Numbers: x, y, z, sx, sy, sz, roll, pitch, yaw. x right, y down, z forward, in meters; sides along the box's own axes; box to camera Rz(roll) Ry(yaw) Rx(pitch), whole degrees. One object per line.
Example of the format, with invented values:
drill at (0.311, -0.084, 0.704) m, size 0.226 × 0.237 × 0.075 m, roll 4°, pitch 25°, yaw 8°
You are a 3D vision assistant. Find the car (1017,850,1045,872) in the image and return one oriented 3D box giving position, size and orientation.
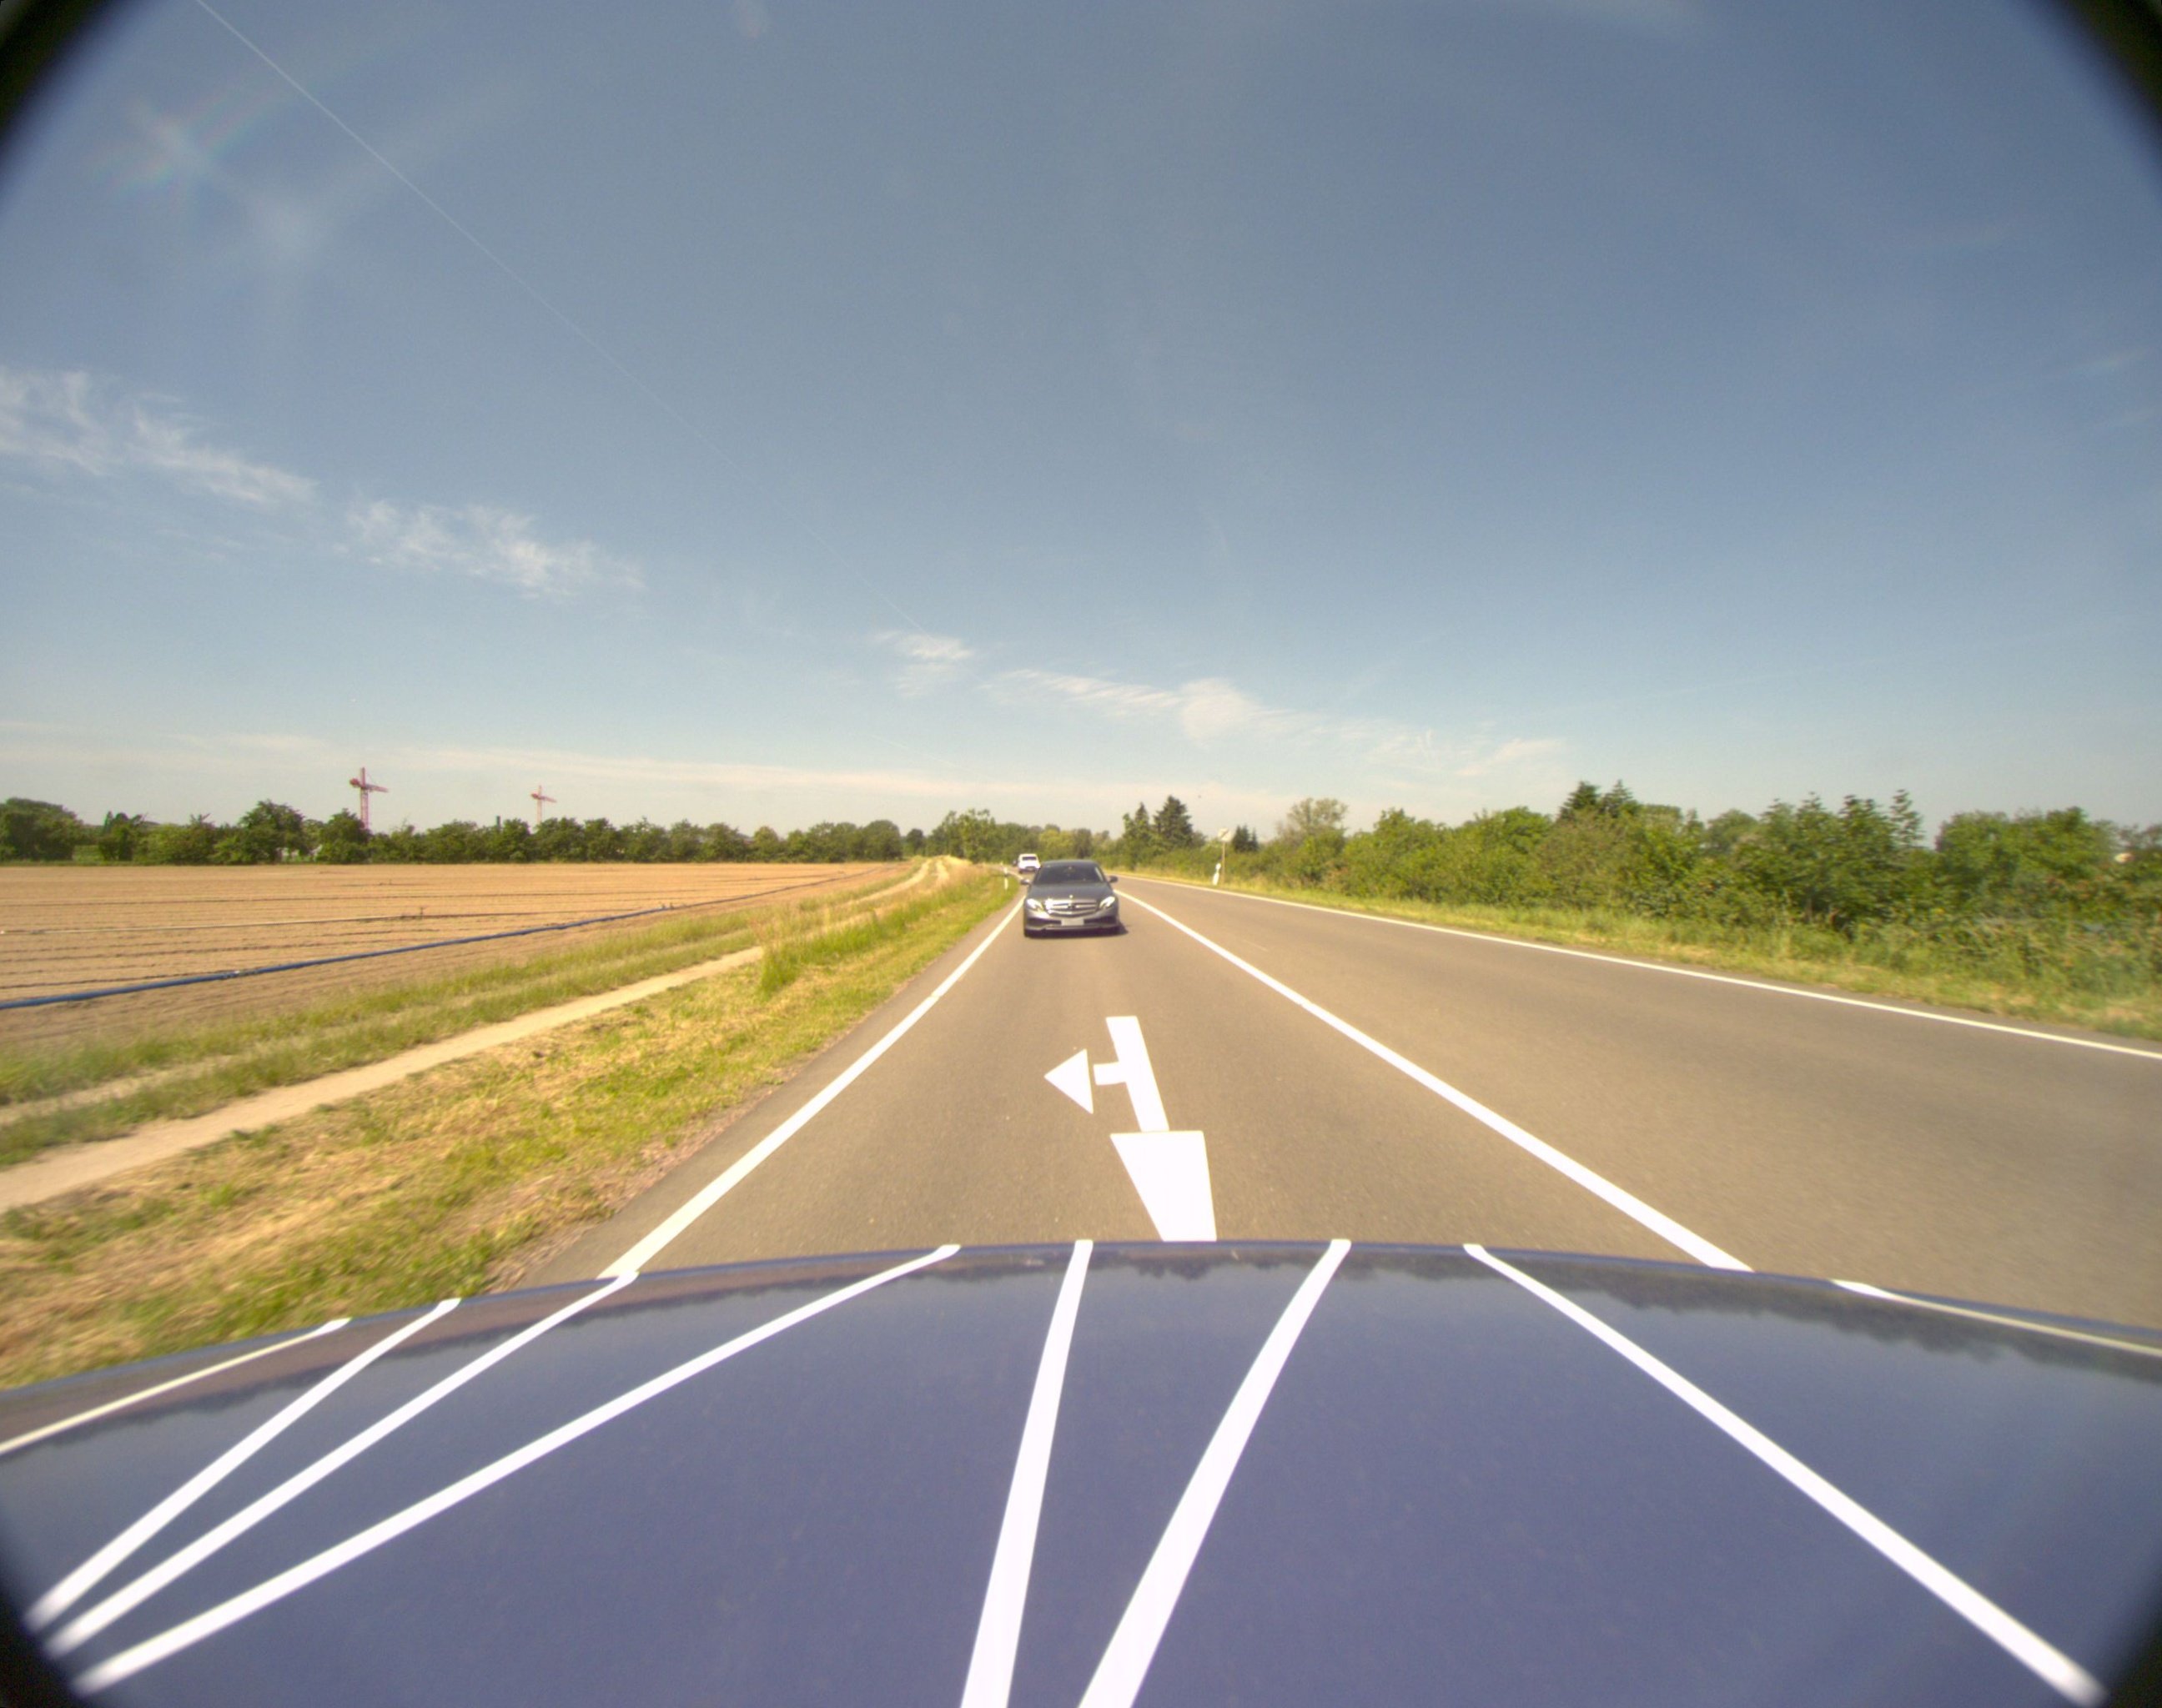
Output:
car at (-4.946, 0.644, 75.082) m, size 2.181 × 2.002 × 5.021 m, roll -3°, pitch 0°, yaw -9°

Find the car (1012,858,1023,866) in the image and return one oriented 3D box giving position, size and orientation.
car at (-11.923, 1.474, 143.349) m, size 1.698 × 1.355 × 3.822 m, roll -2°, pitch 1°, yaw -10°

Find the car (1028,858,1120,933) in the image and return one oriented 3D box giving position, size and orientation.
car at (-0.032, 0.890, 18.316) m, size 1.831 × 1.540 × 4.500 m, roll -1°, pitch 0°, yaw 4°
